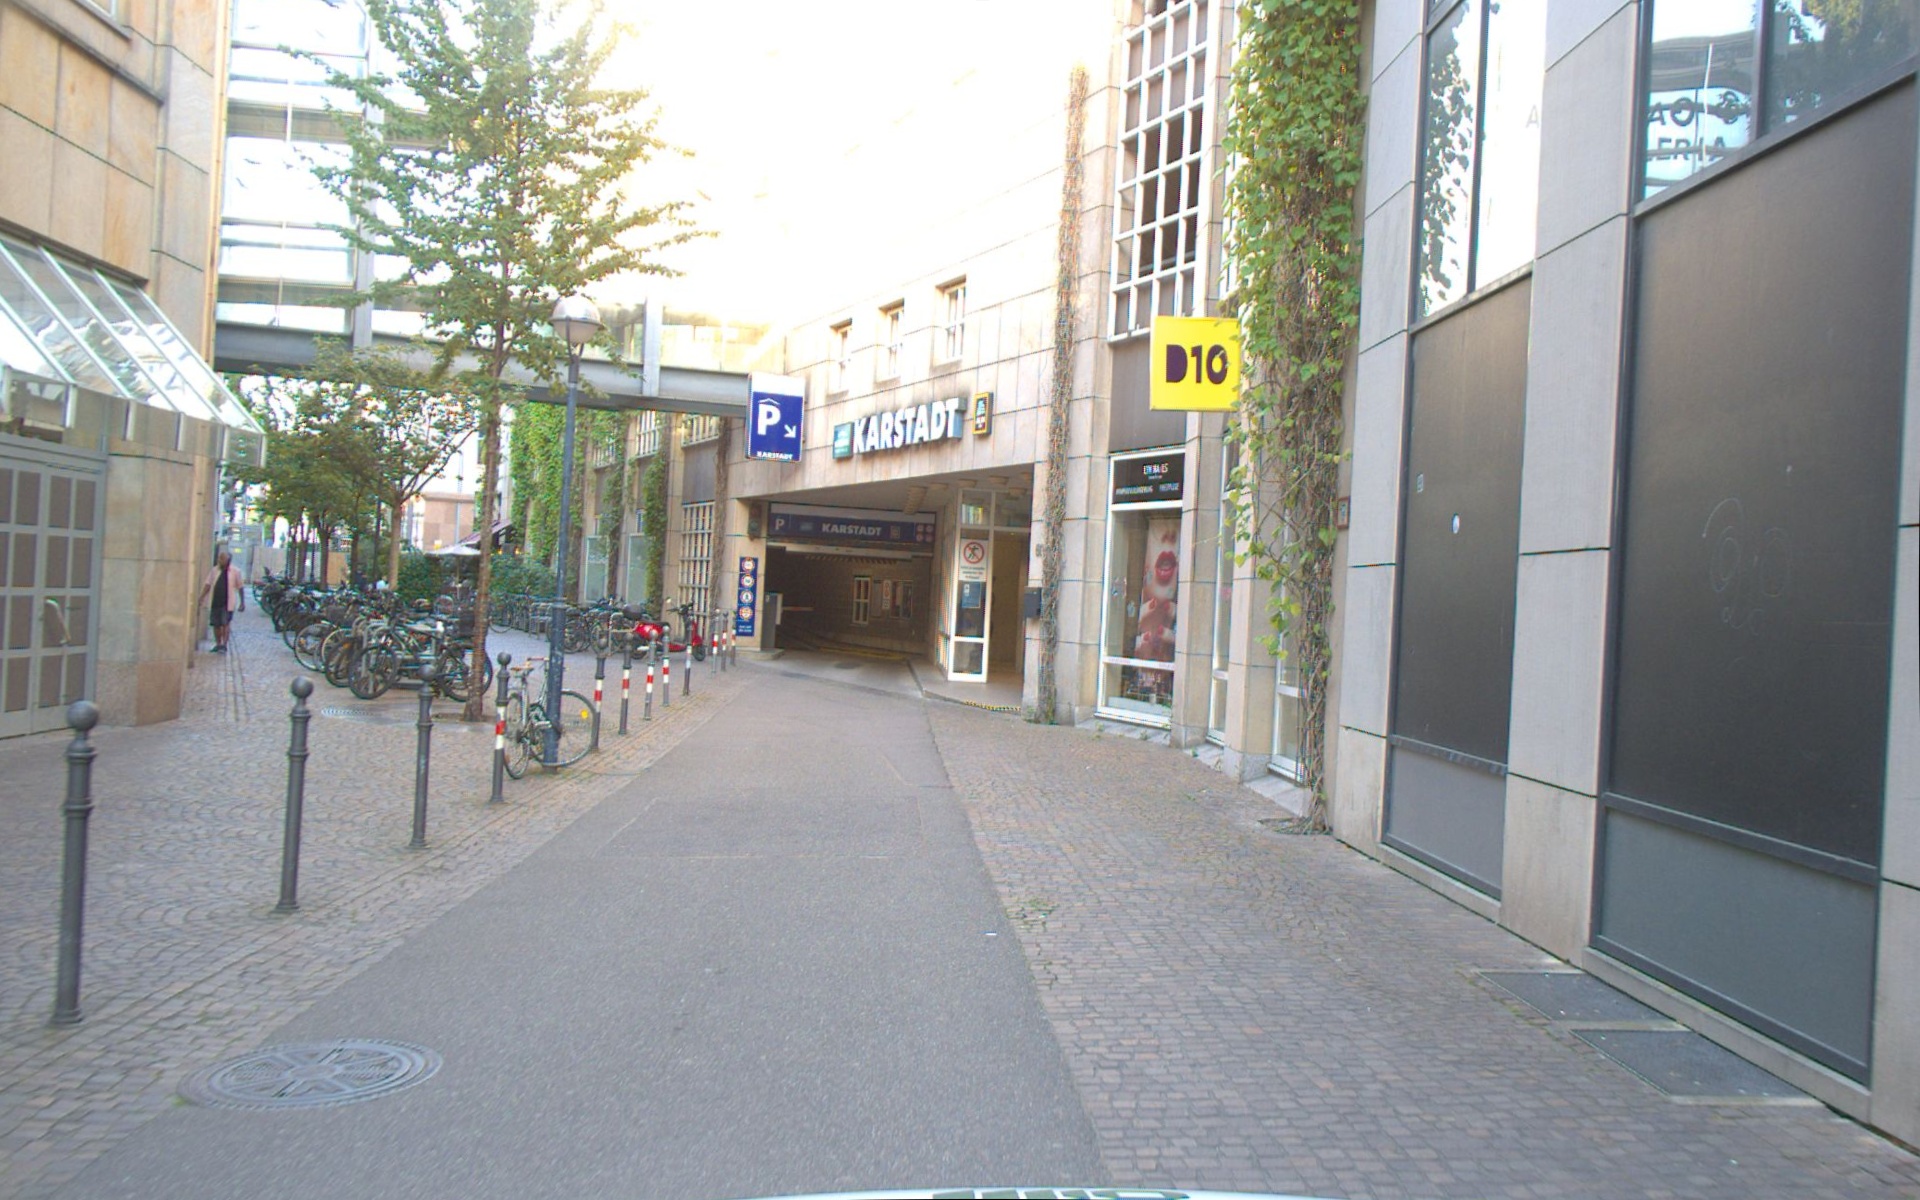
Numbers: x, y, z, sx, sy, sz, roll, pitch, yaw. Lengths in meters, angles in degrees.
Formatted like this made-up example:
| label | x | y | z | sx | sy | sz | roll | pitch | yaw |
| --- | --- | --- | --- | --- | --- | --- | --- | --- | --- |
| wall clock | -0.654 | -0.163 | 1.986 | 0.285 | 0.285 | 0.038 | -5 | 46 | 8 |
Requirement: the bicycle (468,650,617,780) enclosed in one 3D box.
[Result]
| label | x | y | z | sx | sy | sz | roll | pitch | yaw |
| --- | --- | --- | --- | --- | --- | --- | --- | --- | --- |
| bicycle | -3.451 | 0.926 | 13.800 | 0.482 | 0.955 | 1.660 | 4 | 0 | 11 |

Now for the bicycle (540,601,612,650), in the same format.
| label | x | y | z | sx | sy | sz | roll | pitch | yaw |
| --- | --- | --- | --- | --- | --- | --- | --- | --- | --- |
| bicycle | -8.793 | 0.577 | 37.886 | 1.519 | 1.067 | 0.571 | 2 | 0 | -24 |

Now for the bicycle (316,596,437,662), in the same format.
| label | x | y | z | sx | sy | sz | roll | pitch | yaw |
| --- | --- | --- | --- | --- | --- | --- | --- | --- | --- |
| bicycle | -9.843 | 0.493 | 27.916 | 1.854 | 1.061 | 0.530 | 2 | 0 | -27 |

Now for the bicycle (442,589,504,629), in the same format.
| label | x | y | z | sx | sy | sz | roll | pitch | yaw |
| --- | --- | --- | --- | --- | --- | --- | --- | --- | --- |
| bicycle | -14.709 | 0.277 | 49.968 | 1.748 | 1.134 | 0.539 | 2 | 0 | -22 |

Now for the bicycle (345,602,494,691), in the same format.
| label | x | y | z | sx | sy | sz | roll | pitch | yaw |
| --- | --- | --- | --- | --- | --- | --- | --- | --- | --- |
| bicycle | -7.234 | 0.632 | 22.148 | 1.814 | 1.142 | 0.530 | 2 | 0 | -27 |

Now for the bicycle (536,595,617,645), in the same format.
| label | x | y | z | sx | sy | sz | roll | pitch | yaw |
| --- | --- | --- | --- | --- | --- | --- | --- | --- | --- |
| bicycle | -9.040 | 0.475 | 39.014 | 1.750 | 1.134 | 0.539 | 2 | 0 | -24 |

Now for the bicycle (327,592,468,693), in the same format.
| label | x | y | z | sx | sy | sz | roll | pitch | yaw |
| --- | --- | --- | --- | --- | --- | --- | --- | --- | --- |
| bicycle | -7.212 | 0.550 | 21.224 | 1.633 | 1.252 | 0.530 | 2 | 0 | -27 |

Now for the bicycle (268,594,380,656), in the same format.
| label | x | y | z | sx | sy | sz | roll | pitch | yaw |
| --- | --- | --- | --- | --- | --- | --- | --- | --- | --- |
| bicycle | -11.368 | 0.455 | 29.569 | 1.802 | 1.061 | 0.530 | 2 | 0 | -27 |

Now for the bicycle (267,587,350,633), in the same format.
| label | x | y | z | sx | sy | sz | roll | pitch | yaw |
| --- | --- | --- | --- | --- | --- | --- | --- | --- | --- |
| bicycle | -15.249 | 0.237 | 38.701 | 1.758 | 1.037 | 0.477 | 2 | 0 | -27 |

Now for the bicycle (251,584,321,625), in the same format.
| label | x | y | z | sx | sy | sz | roll | pitch | yaw |
| --- | --- | --- | --- | --- | --- | --- | --- | --- | --- |
| bicycle | -19.908 | 0.134 | 48.868 | 1.881 | 1.131 | 0.477 | 2 | 0 | -27 |

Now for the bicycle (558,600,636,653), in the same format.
| label | x | y | z | sx | sy | sz | roll | pitch | yaw |
| --- | --- | --- | --- | --- | --- | --- | --- | --- | --- |
| bicycle | -7.801 | 0.571 | 35.548 | 1.519 | 1.067 | 0.571 | 2 | 0 | -24 |

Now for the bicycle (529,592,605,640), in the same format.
| label | x | y | z | sx | sy | sz | roll | pitch | yaw |
| --- | --- | --- | --- | --- | --- | --- | --- | --- | --- |
| bicycle | -9.796 | 0.401 | 41.240 | 1.750 | 1.134 | 0.539 | 2 | 0 | -24 |

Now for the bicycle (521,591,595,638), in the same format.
| label | x | y | z | sx | sy | sz | roll | pitch | yaw |
| --- | --- | --- | --- | --- | --- | --- | --- | --- | --- |
| bicycle | -10.258 | 0.362 | 42.241 | 1.750 | 1.134 | 0.539 | 2 | 0 | -24 |

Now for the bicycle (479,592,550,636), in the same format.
| label | x | y | z | sx | sy | sz | roll | pitch | yaw |
| --- | --- | --- | --- | --- | --- | --- | --- | --- | --- |
| bicycle | -11.953 | 0.372 | 44.380 | 1.750 | 1.134 | 0.539 | 2 | 0 | -24 |

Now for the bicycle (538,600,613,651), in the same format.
| label | x | y | z | sx | sy | sz | roll | pitch | yaw |
| --- | --- | --- | --- | --- | --- | --- | --- | --- | --- |
| bicycle | -8.481 | 0.567 | 36.478 | 1.519 | 1.067 | 0.571 | 2 | 0 | -24 |

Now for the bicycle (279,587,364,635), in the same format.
| label | x | y | z | sx | sy | sz | roll | pitch | yaw |
| --- | --- | --- | --- | --- | --- | --- | --- | --- | --- |
| bicycle | -14.633 | 0.249 | 37.906 | 1.758 | 1.037 | 0.477 | 2 | 0 | -27 |

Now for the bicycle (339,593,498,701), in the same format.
| label | x | y | z | sx | sy | sz | roll | pitch | yaw |
| --- | --- | --- | --- | --- | --- | --- | --- | --- | --- |
| bicycle | -6.551 | 0.575 | 20.025 | 1.745 | 1.252 | 0.530 | 2 | 0 | -27 |

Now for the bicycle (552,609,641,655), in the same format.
| label | x | y | z | sx | sy | sz | roll | pitch | yaw |
| --- | --- | --- | --- | --- | --- | --- | --- | --- | --- |
| bicycle | -7.601 | 0.674 | 34.610 | 1.750 | 0.920 | 0.460 | 2 | 0 | -25 |

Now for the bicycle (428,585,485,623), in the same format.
| label | x | y | z | sx | sy | sz | roll | pitch | yaw |
| --- | --- | --- | --- | --- | --- | --- | --- | --- | --- |
| bicycle | -16.763 | 0.131 | 55.070 | 1.750 | 1.211 | 0.582 | 2 | 0 | -24 |

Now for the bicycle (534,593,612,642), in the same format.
| label | x | y | z | sx | sy | sz | roll | pitch | yaw |
| --- | --- | --- | --- | --- | --- | --- | --- | --- | --- |
| bicycle | -9.364 | 0.432 | 40.066 | 1.750 | 1.134 | 0.539 | 2 | 0 | -24 |

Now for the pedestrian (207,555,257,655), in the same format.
| label | x | y | z | sx | sy | sz | roll | pitch | yaw |
| --- | --- | --- | --- | --- | --- | --- | --- | --- | --- |
| pedestrian | -11.974 | 0.082 | 27.199 | 0.689 | 1.610 | 0.713 | 2 | 0 | -26 |

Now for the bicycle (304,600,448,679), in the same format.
| label | x | y | z | sx | sy | sz | roll | pitch | yaw |
| --- | --- | --- | --- | --- | --- | --- | --- | --- | --- |
| bicycle | -8.314 | 0.564 | 23.558 | 1.871 | 1.070 | 0.530 | 2 | 0 | -27 |

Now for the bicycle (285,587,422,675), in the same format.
| label | x | y | z | sx | sy | sz | roll | pitch | yaw |
| --- | --- | --- | --- | --- | --- | --- | --- | --- | --- |
| bicycle | -8.861 | 0.456 | 24.195 | 1.811 | 1.246 | 0.530 | 2 | 0 | -27 |

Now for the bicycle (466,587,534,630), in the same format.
| label | x | y | z | sx | sy | sz | roll | pitch | yaw |
| --- | --- | --- | --- | --- | --- | --- | --- | --- | --- |
| bicycle | -12.834 | 0.243 | 46.125 | 1.750 | 1.134 | 0.539 | 2 | 0 | -24 |

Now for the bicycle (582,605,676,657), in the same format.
| label | x | y | z | sx | sy | sz | roll | pitch | yaw |
| --- | --- | --- | --- | --- | --- | --- | --- | --- | --- |
| bicycle | -6.764 | 0.631 | 33.817 | 1.824 | 0.999 | 0.460 | 2 | 0 | -25 |

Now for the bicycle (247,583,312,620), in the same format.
| label | x | y | z | sx | sy | sz | roll | pitch | yaw |
| --- | --- | --- | --- | --- | --- | --- | --- | --- | --- |
| bicycle | -21.746 | 0.042 | 52.864 | 1.881 | 1.131 | 0.477 | 2 | 0 | -27 |

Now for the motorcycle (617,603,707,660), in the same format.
| label | x | y | z | sx | sy | sz | roll | pitch | yaw |
| --- | --- | --- | --- | --- | --- | --- | --- | --- | --- |
| motorcycle | -5.807 | 0.618 | 32.255 | 1.641 | 1.069 | 0.460 | 2 | 0 | -25 |

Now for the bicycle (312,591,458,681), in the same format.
| label | x | y | z | sx | sy | sz | roll | pitch | yaw |
| --- | --- | --- | --- | --- | --- | --- | --- | --- | --- |
| bicycle | -8.005 | 0.507 | 23.049 | 1.849 | 1.198 | 0.530 | 2 | 0 | -27 |
